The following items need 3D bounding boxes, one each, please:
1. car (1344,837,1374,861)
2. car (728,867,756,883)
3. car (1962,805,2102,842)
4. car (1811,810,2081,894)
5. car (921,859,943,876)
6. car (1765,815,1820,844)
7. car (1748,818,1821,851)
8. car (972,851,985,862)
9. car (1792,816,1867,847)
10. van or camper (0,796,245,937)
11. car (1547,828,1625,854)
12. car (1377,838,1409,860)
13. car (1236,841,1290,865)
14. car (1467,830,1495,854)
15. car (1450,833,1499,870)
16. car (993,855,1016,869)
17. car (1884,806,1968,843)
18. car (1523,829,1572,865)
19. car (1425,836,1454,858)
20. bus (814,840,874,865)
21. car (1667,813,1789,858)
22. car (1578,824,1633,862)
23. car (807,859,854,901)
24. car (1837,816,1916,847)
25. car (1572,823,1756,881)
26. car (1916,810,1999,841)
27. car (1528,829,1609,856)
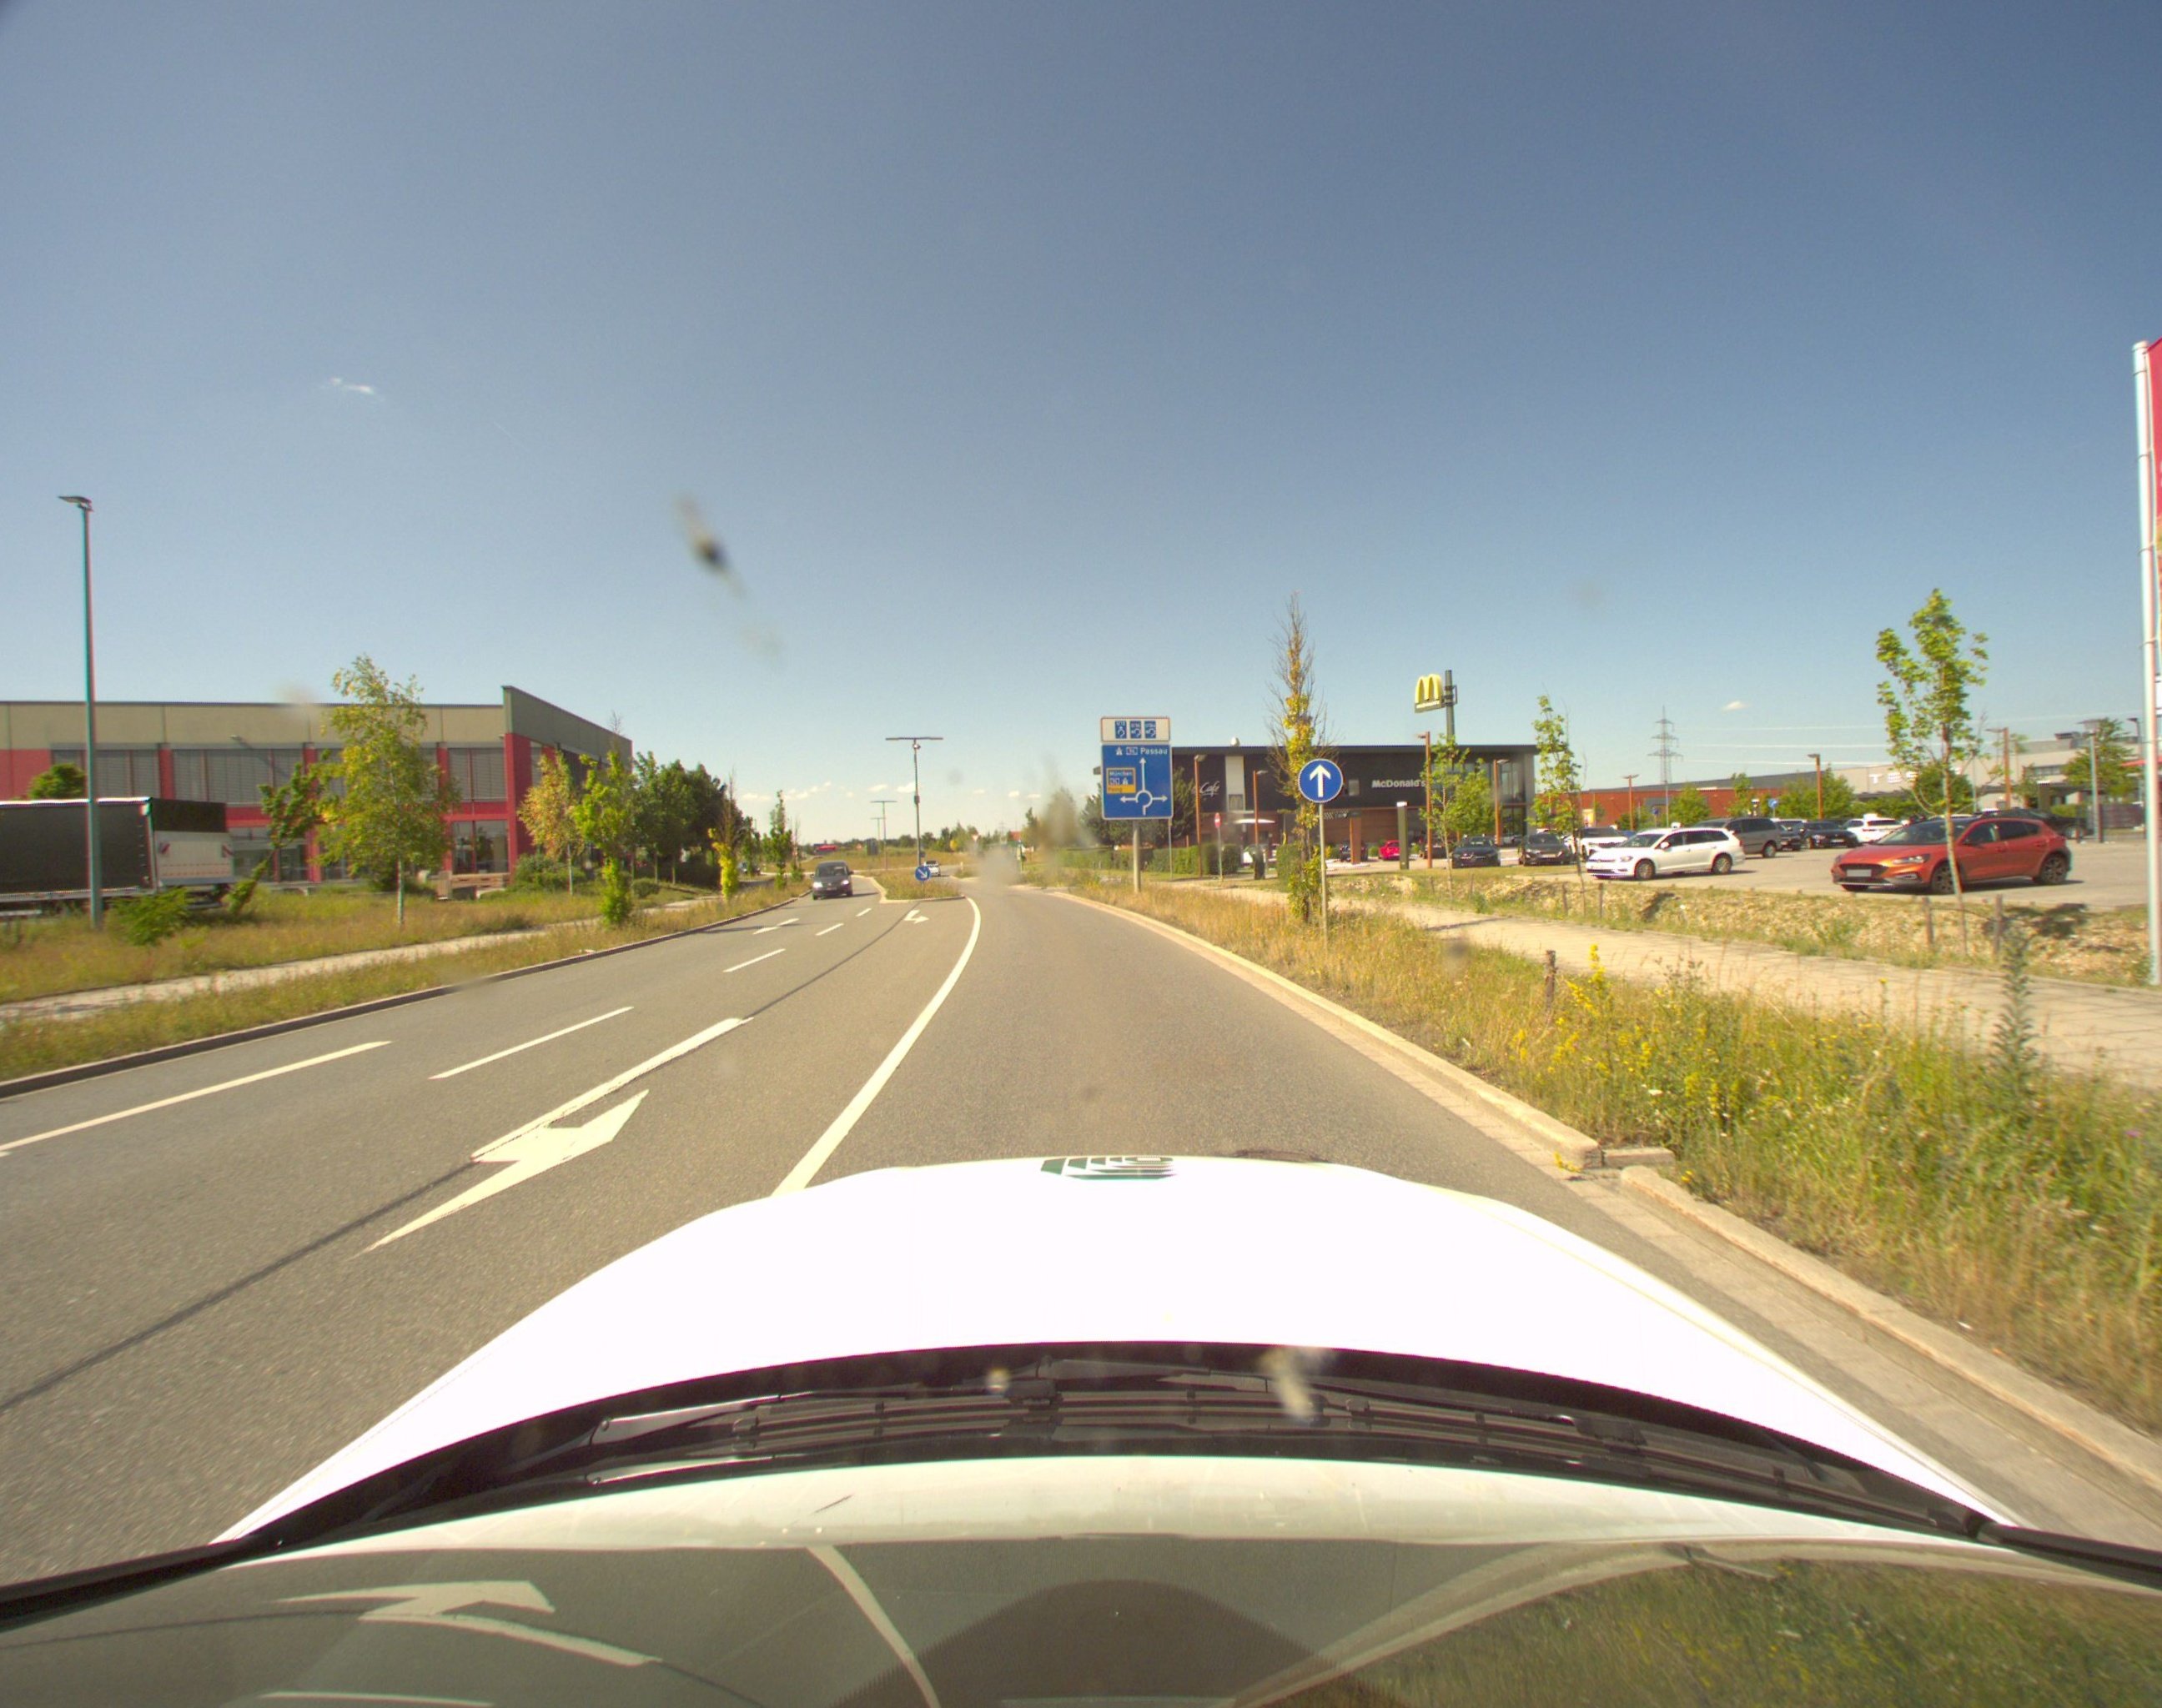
[{"bbox_3d":[20.060,-0.362,58.797,1.779,1.604,4.017,-3,0,16],"label":"car"},{"bbox_3d":[-37.185,2.322,89.265,1.773,1.543,4.192,-5,1,-38],"label":"car"},{"bbox_3d":[46.690,-1.476,40.113,4.115,1.522,1.803,-3,0,32],"label":"car"},{"bbox_3d":[18.401,-0.067,17.415,4.202,1.490,1.864,-3,1,-8],"label":"car"},{"bbox_3d":[-13.779,1.221,75.149,1.619,1.434,3.773,-2,0,-15],"label":"car"},{"bbox_3d":[46.267,-1.596,53.041,1.768,1.757,4.195,-3,0,28],"label":"car"},{"bbox_3d":[34.254,-0.929,39.781,1.768,1.451,4.195,-3,0,28],"label":"car"},{"bbox_3d":[-14.109,0.372,112.184,1.616,1.434,3.780,-2,0,-10],"label":"car"},{"bbox_3d":[37.713,-1.124,41.166,1.768,1.451,4.195,-3,0,28],"label":"car"},{"bbox_3d":[-27.886,0.377,21.689,7.691,3.468,2.547,-2,0,-10],"label":"van or camper"},{"bbox_3d":[30.725,-0.760,49.635,3.948,1.373,1.810,-3,0,31],"label":"car"},{"bbox_3d":[22.882,-0.369,59.834,1.779,1.434,4.017,-3,0,16],"label":"car"},{"bbox_3d":[11.807,-0.016,53.105,1.796,1.434,3.980,-3,0,-15],"label":"car"},{"bbox_3d":[30.445,-0.936,62.007,1.776,1.702,4.024,-3,0,27],"label":"car"},{"bbox_3d":[17.167,-0.158,35.478,1.681,1.462,4.195,-3,0,28],"label":"car"},{"bbox_3d":[-8.918,0.943,95.142,1.757,1.517,3.808,-2,0,8],"label":"car"},{"bbox_3d":[43.747,-1.500,42.274,1.768,1.757,4.195,-3,0,28],"label":"car"},{"bbox_3d":[20.796,-0.333,36.425,1.768,1.462,4.195,-3,0,28],"label":"car"},{"bbox_3d":[26.684,-0.535,60.486,1.776,1.513,4.024,-3,0,25],"label":"car"},{"bbox_3d":[-35.461,-0.343,122.488,2.767,3.078,12.252,-3,2,14],"label":"bus"},{"bbox_3d":[26.304,-0.748,33.146,4.164,1.635,1.782,-3,0,-16],"label":"car"},{"bbox_3d":[24.064,-0.521,37.490,1.768,1.579,4.195,-3,0,28],"label":"car"},{"bbox_3d":[-12.184,1.203,39.784,1.955,1.794,4.402,-4,1,-16],"label":"car"},{"bbox_3d":[40.935,-1.145,42.019,1.768,1.451,4.195,-3,0,28],"label":"car"},{"bbox_3d":[17.729,-0.082,24.869,4.523,1.490,1.864,-3,1,-8],"label":"car"},{"bbox_3d":[47.534,-1.507,44.260,1.768,1.522,4.195,-3,0,28],"label":"car"},{"bbox_3d":[28.380,-0.671,47.485,3.948,1.373,1.810,-3,0,31],"label":"car"}]
